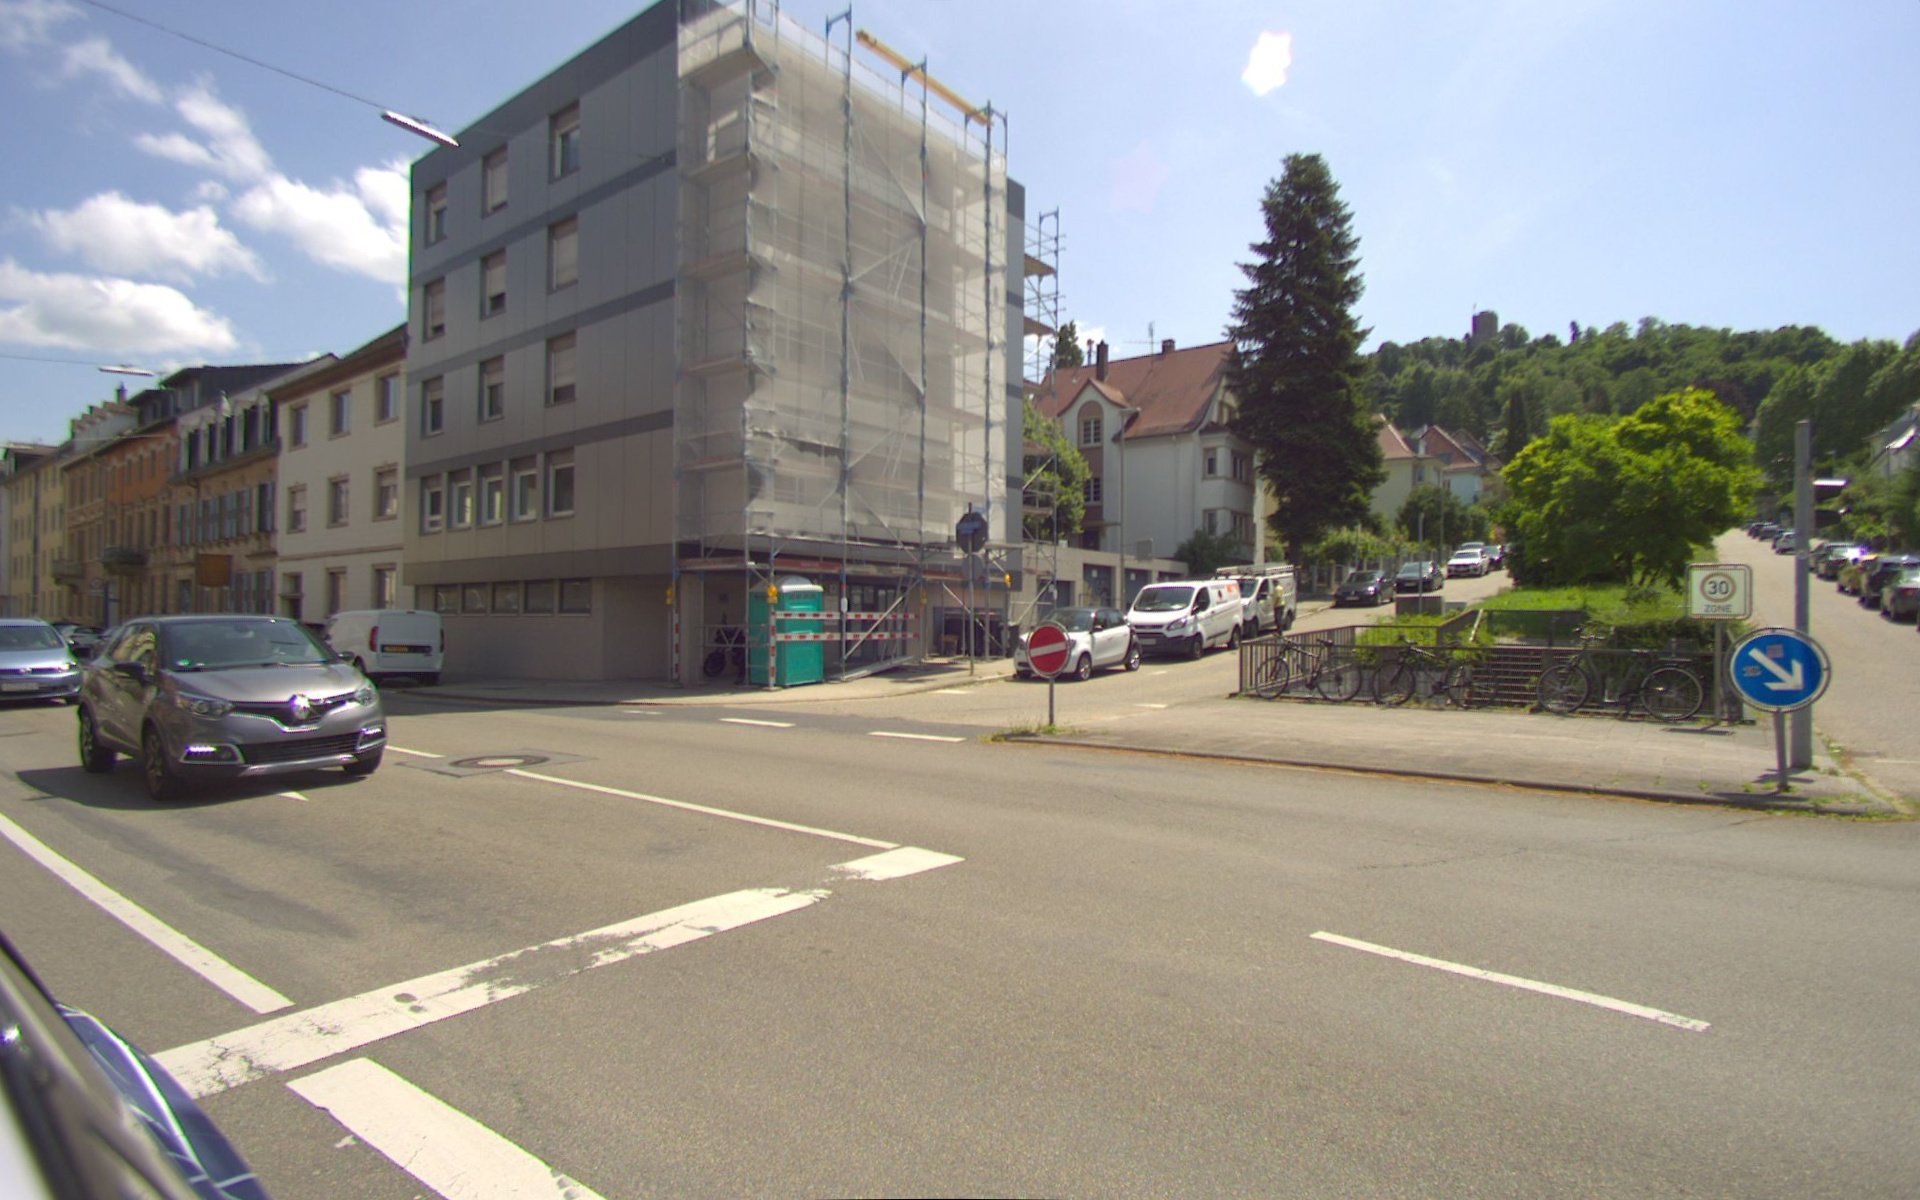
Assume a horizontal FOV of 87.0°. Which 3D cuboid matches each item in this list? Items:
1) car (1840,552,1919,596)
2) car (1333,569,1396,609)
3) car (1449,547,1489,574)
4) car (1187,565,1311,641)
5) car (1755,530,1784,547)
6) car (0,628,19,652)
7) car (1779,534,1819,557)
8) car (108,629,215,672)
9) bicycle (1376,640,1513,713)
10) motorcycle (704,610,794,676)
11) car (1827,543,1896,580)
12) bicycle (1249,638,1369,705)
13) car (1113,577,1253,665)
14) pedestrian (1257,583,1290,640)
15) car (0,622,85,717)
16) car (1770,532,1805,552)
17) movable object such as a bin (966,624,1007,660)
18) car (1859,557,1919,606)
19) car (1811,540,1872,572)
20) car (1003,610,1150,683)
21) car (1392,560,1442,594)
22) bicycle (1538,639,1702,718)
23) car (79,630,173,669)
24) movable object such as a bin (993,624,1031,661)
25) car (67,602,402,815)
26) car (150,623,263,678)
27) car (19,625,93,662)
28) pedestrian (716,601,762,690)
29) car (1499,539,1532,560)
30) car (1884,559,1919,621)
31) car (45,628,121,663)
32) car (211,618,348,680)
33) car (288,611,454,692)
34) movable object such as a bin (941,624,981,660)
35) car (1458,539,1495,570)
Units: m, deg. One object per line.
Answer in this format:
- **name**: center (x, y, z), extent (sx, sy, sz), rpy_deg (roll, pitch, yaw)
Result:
- **car**: center (34.197, -0.980, 37.653), extent (1.806, 1.431, 3.952), rpy_deg (-1, 2, 36)
- **car**: center (17.088, -0.503, 42.662), extent (1.753, 1.458, 3.699), rpy_deg (-2, 2, 33)
- **car**: center (30.765, -2.389, 61.164), extent (1.753, 1.458, 3.699), rpy_deg (-2, 2, 33)
- **car**: center (9.567, 0.043, 33.251), extent (2.073, 2.193, 4.947), rpy_deg (-1, 2, 40)
- **car**: center (75.845, -5.780, 94.869), extent (1.855, 1.431, 3.952), rpy_deg (-1, 2, 36)
- **car**: center (-60.079, 2.419, 62.707), extent (4.682, 1.463, 1.885), rpy_deg (-1, -5, 40)
- **car**: center (58.785, -3.839, 70.923), extent (1.855, 1.431, 3.952), rpy_deg (-1, 2, 36)
- **car**: center (-29.581, 1.842, 37.449), extent (4.829, 1.417, 1.847), rpy_deg (-1, -5, 37)
- **bicycle**: center (6.984, 1.082, 14.630), extent (1.742, 0.974, 0.393), rpy_deg (-1, -1, 35)
- **motorcycle**: center (-4.922, 0.987, 23.637), extent (2.009, 1.483, 0.884), rpy_deg (0, -1, -13)
- **car**: center (39.769, -1.719, 44.736), extent (1.855, 1.431, 3.952), rpy_deg (-1, 2, 36)
- **bicycle**: center (5.399, 1.092, 15.725), extent (1.715, 0.974, 0.393), rpy_deg (-1, -1, 35)
- **car**: center (6.120, 0.483, 27.290), extent (1.995, 2.028, 4.956), rpy_deg (-2, 2, 34)
- **pedestrian**: center (9.786, 0.362, 31.574), extent (0.743, 1.727, 0.702), rpy_deg (-1, -2, 42)
- **car**: center (-17.430, 1.203, 18.373), extent (3.997, 1.580, 1.736), rpy_deg (-1, -1, 40)
- **car**: center (64.463, -4.551, 78.855), extent (1.855, 1.431, 3.952), rpy_deg (-1, 2, 36)
- **movable object such as a bin**: center (0.720, 1.129, 27.232), extent (0.826, 0.933, 0.731), rpy_deg (-2, -1, 40)
- **car**: center (30.726, -0.640, 32.902), extent (1.806, 1.398, 3.952), rpy_deg (-1, 2, 36)
- **car**: center (43.130, -2.175, 49.568), extent (1.855, 1.431, 3.952), rpy_deg (-1, 2, 36)
- **car**: center (2.720, 0.997, 23.016), extent (1.754, 1.458, 3.695), rpy_deg (-2, -1, 35)
- **car**: center (22.844, -1.168, 50.504), extent (1.753, 1.458, 3.699), rpy_deg (-2, 2, 33)
- **bicycle**: center (8.671, 1.012, 13.356), extent (1.779, 0.974, 0.393), rpy_deg (-1, -1, 35)
- **car**: center (-33.719, 1.981, 40.904), extent (4.322, 1.417, 1.848), rpy_deg (-1, -5, 36)
- **movable object such as a bin**: center (1.380, 1.120, 26.691), extent (0.703, 0.933, 0.731), rpy_deg (-2, -1, 40)
- **car**: center (-7.129, 0.879, 9.791), extent (3.997, 1.644, 1.736), rpy_deg (-2, -1, 40)
- **car**: center (-24.514, 1.609, 32.873), extent (4.814, 1.653, 1.865), rpy_deg (-1, -3, 40)
- **car**: center (-44.327, 2.101, 49.605), extent (4.494, 1.640, 1.847), rpy_deg (-1, -5, 38)
- **pedestrian**: center (-4.662, 0.956, 21.415), extent (0.700, 1.847, 0.788), rpy_deg (-1, -1, 10)
- **car**: center (42.628, -3.853, 77.644), extent (1.755, 1.458, 3.695), rpy_deg (-1, 3, 36)
- **car**: center (27.856, -0.333, 28.805), extent (1.806, 1.562, 3.952), rpy_deg (-1, 2, 36)
- **car**: center (-40.162, 2.085, 46.321), extent (4.326, 1.437, 1.846), rpy_deg (-1, -5, 39)
- **car**: center (-19.485, 1.356, 28.898), extent (4.656, 1.653, 1.867), rpy_deg (-1, -3, 38)
- **car**: center (-14.681, 1.231, 25.114), extent (4.782, 1.839, 1.895), rpy_deg (-1, -3, 38)
- **movable object such as a bin**: center (0.033, 1.152, 27.959), extent (0.826, 0.933, 0.731), rpy_deg (-2, -1, 40)
- **car**: center (33.110, -2.912, 64.858), extent (1.753, 1.828, 3.699), rpy_deg (-2, 2, 33)
